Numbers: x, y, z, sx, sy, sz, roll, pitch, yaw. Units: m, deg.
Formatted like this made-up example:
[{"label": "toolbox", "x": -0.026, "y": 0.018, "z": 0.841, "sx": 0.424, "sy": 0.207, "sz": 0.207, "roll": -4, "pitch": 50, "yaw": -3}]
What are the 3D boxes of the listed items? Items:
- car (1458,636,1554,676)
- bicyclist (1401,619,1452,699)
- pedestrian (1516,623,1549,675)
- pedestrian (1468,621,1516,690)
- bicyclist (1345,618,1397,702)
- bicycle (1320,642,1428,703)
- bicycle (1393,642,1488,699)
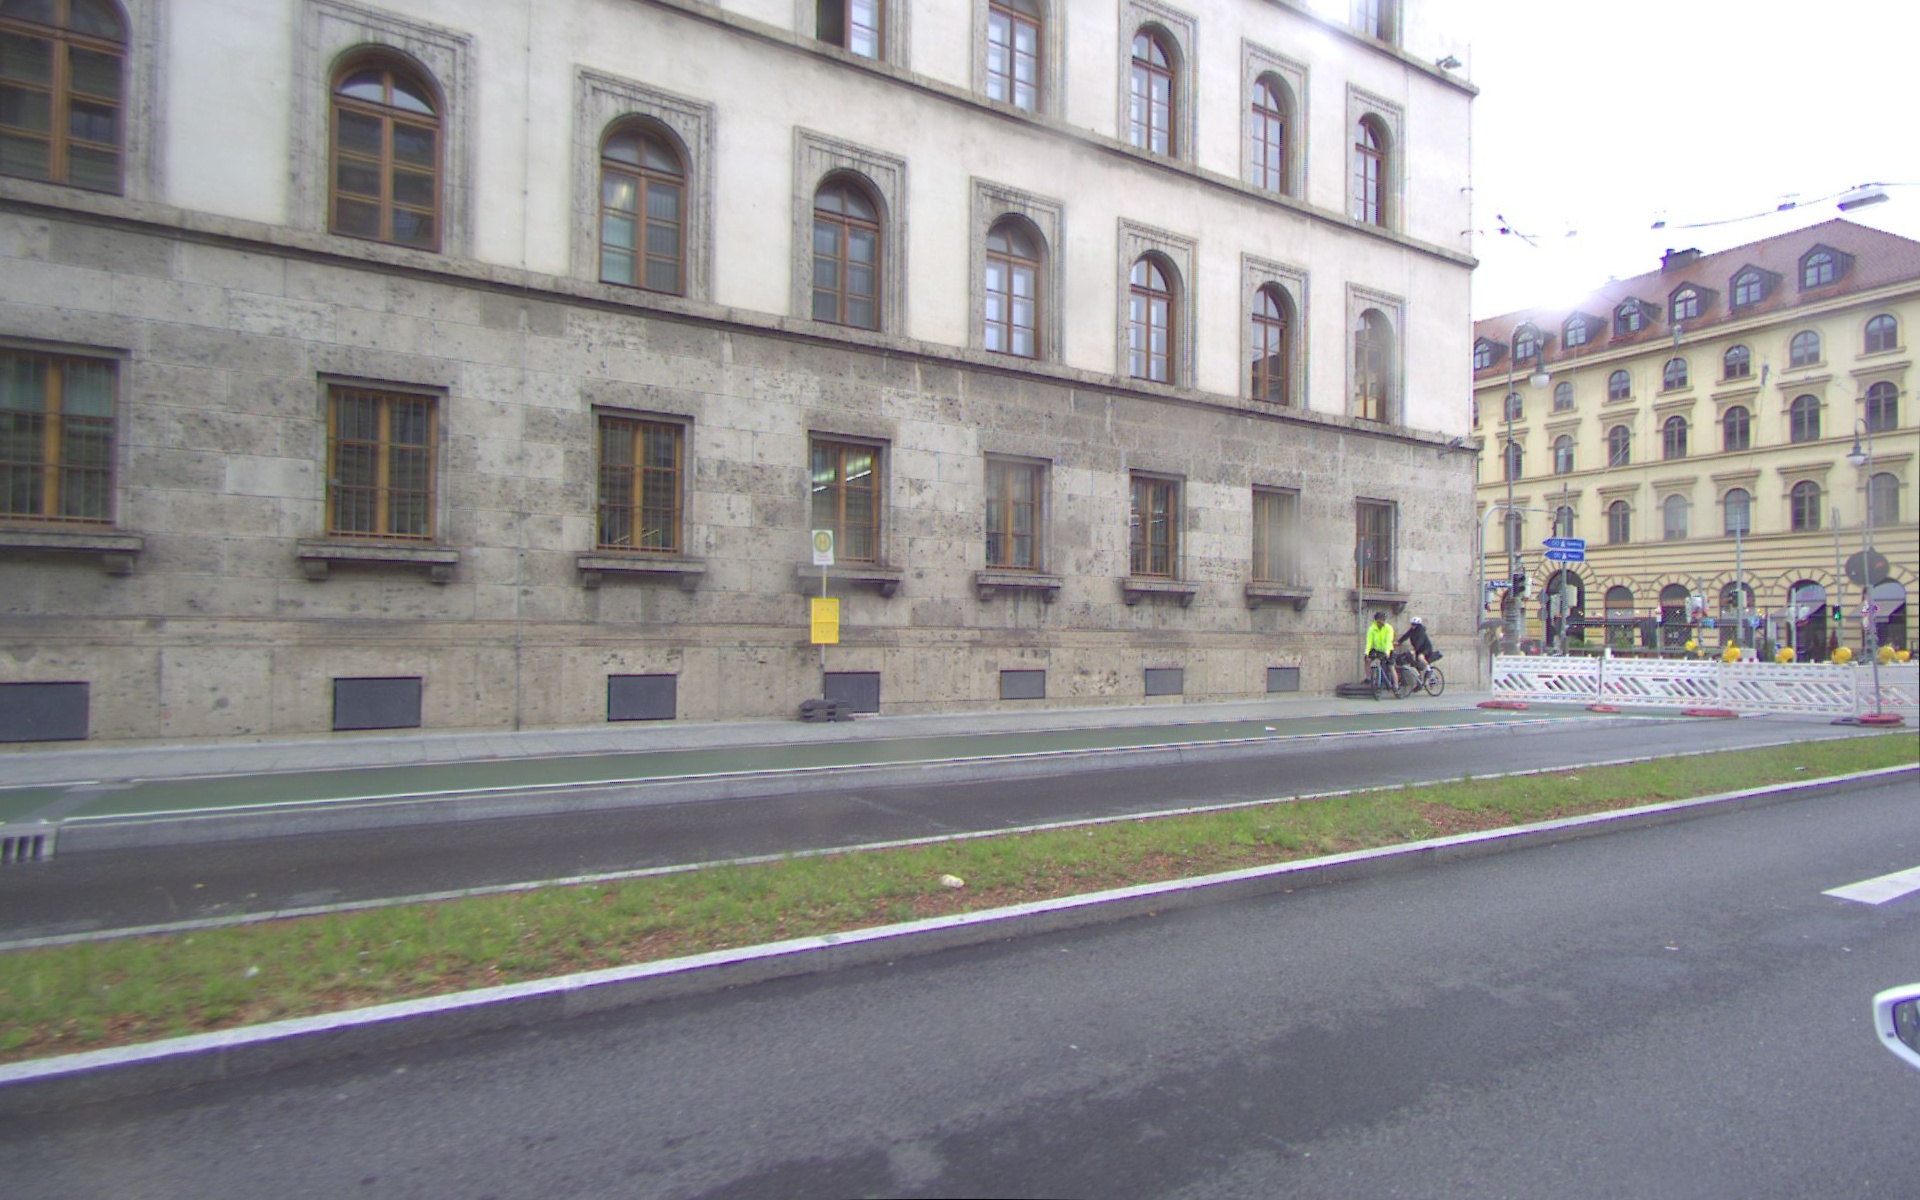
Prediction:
[{"label": "car", "x": 26.516, "y": 2.686, "z": 48.850, "sx": 1.855, "sy": 1.822, "sz": 3.706, "roll": 2, "pitch": -2, "yaw": -42}, {"label": "bicyclist", "x": 10.724, "y": 1.340, "z": 23.104, "sx": 0.679, "sy": 1.799, "sz": 0.795, "roll": 1, "pitch": 0, "yaw": -26}, {"label": "pedestrian", "x": 19.968, "y": 1.706, "z": 35.049, "sx": 0.727, "sy": 1.795, "sz": 0.734, "roll": 1, "pitch": 0, "yaw": -28}, {"label": "pedestrian", "x": 14.149, "y": 1.467, "z": 26.722, "sx": 0.726, "sy": 1.795, "sz": 0.844, "roll": 1, "pitch": 0, "yaw": -13}, {"label": "bicyclist", "x": 9.017, "y": 1.299, "z": 22.035, "sx": 0.679, "sy": 1.772, "sz": 0.795, "roll": 1, "pitch": 0, "yaw": -26}, {"label": "bicycle", "x": 9.114, "y": 1.565, "z": 22.082, "sx": 2.416, "sy": 1.259, "sz": 0.784, "roll": 1, "pitch": -1, "yaw": -26}, {"label": "bicycle", "x": 11.159, "y": 1.616, "z": 23.317, "sx": 2.169, "sy": 1.259, "sz": 0.784, "roll": 1, "pitch": 0, "yaw": -26}]
